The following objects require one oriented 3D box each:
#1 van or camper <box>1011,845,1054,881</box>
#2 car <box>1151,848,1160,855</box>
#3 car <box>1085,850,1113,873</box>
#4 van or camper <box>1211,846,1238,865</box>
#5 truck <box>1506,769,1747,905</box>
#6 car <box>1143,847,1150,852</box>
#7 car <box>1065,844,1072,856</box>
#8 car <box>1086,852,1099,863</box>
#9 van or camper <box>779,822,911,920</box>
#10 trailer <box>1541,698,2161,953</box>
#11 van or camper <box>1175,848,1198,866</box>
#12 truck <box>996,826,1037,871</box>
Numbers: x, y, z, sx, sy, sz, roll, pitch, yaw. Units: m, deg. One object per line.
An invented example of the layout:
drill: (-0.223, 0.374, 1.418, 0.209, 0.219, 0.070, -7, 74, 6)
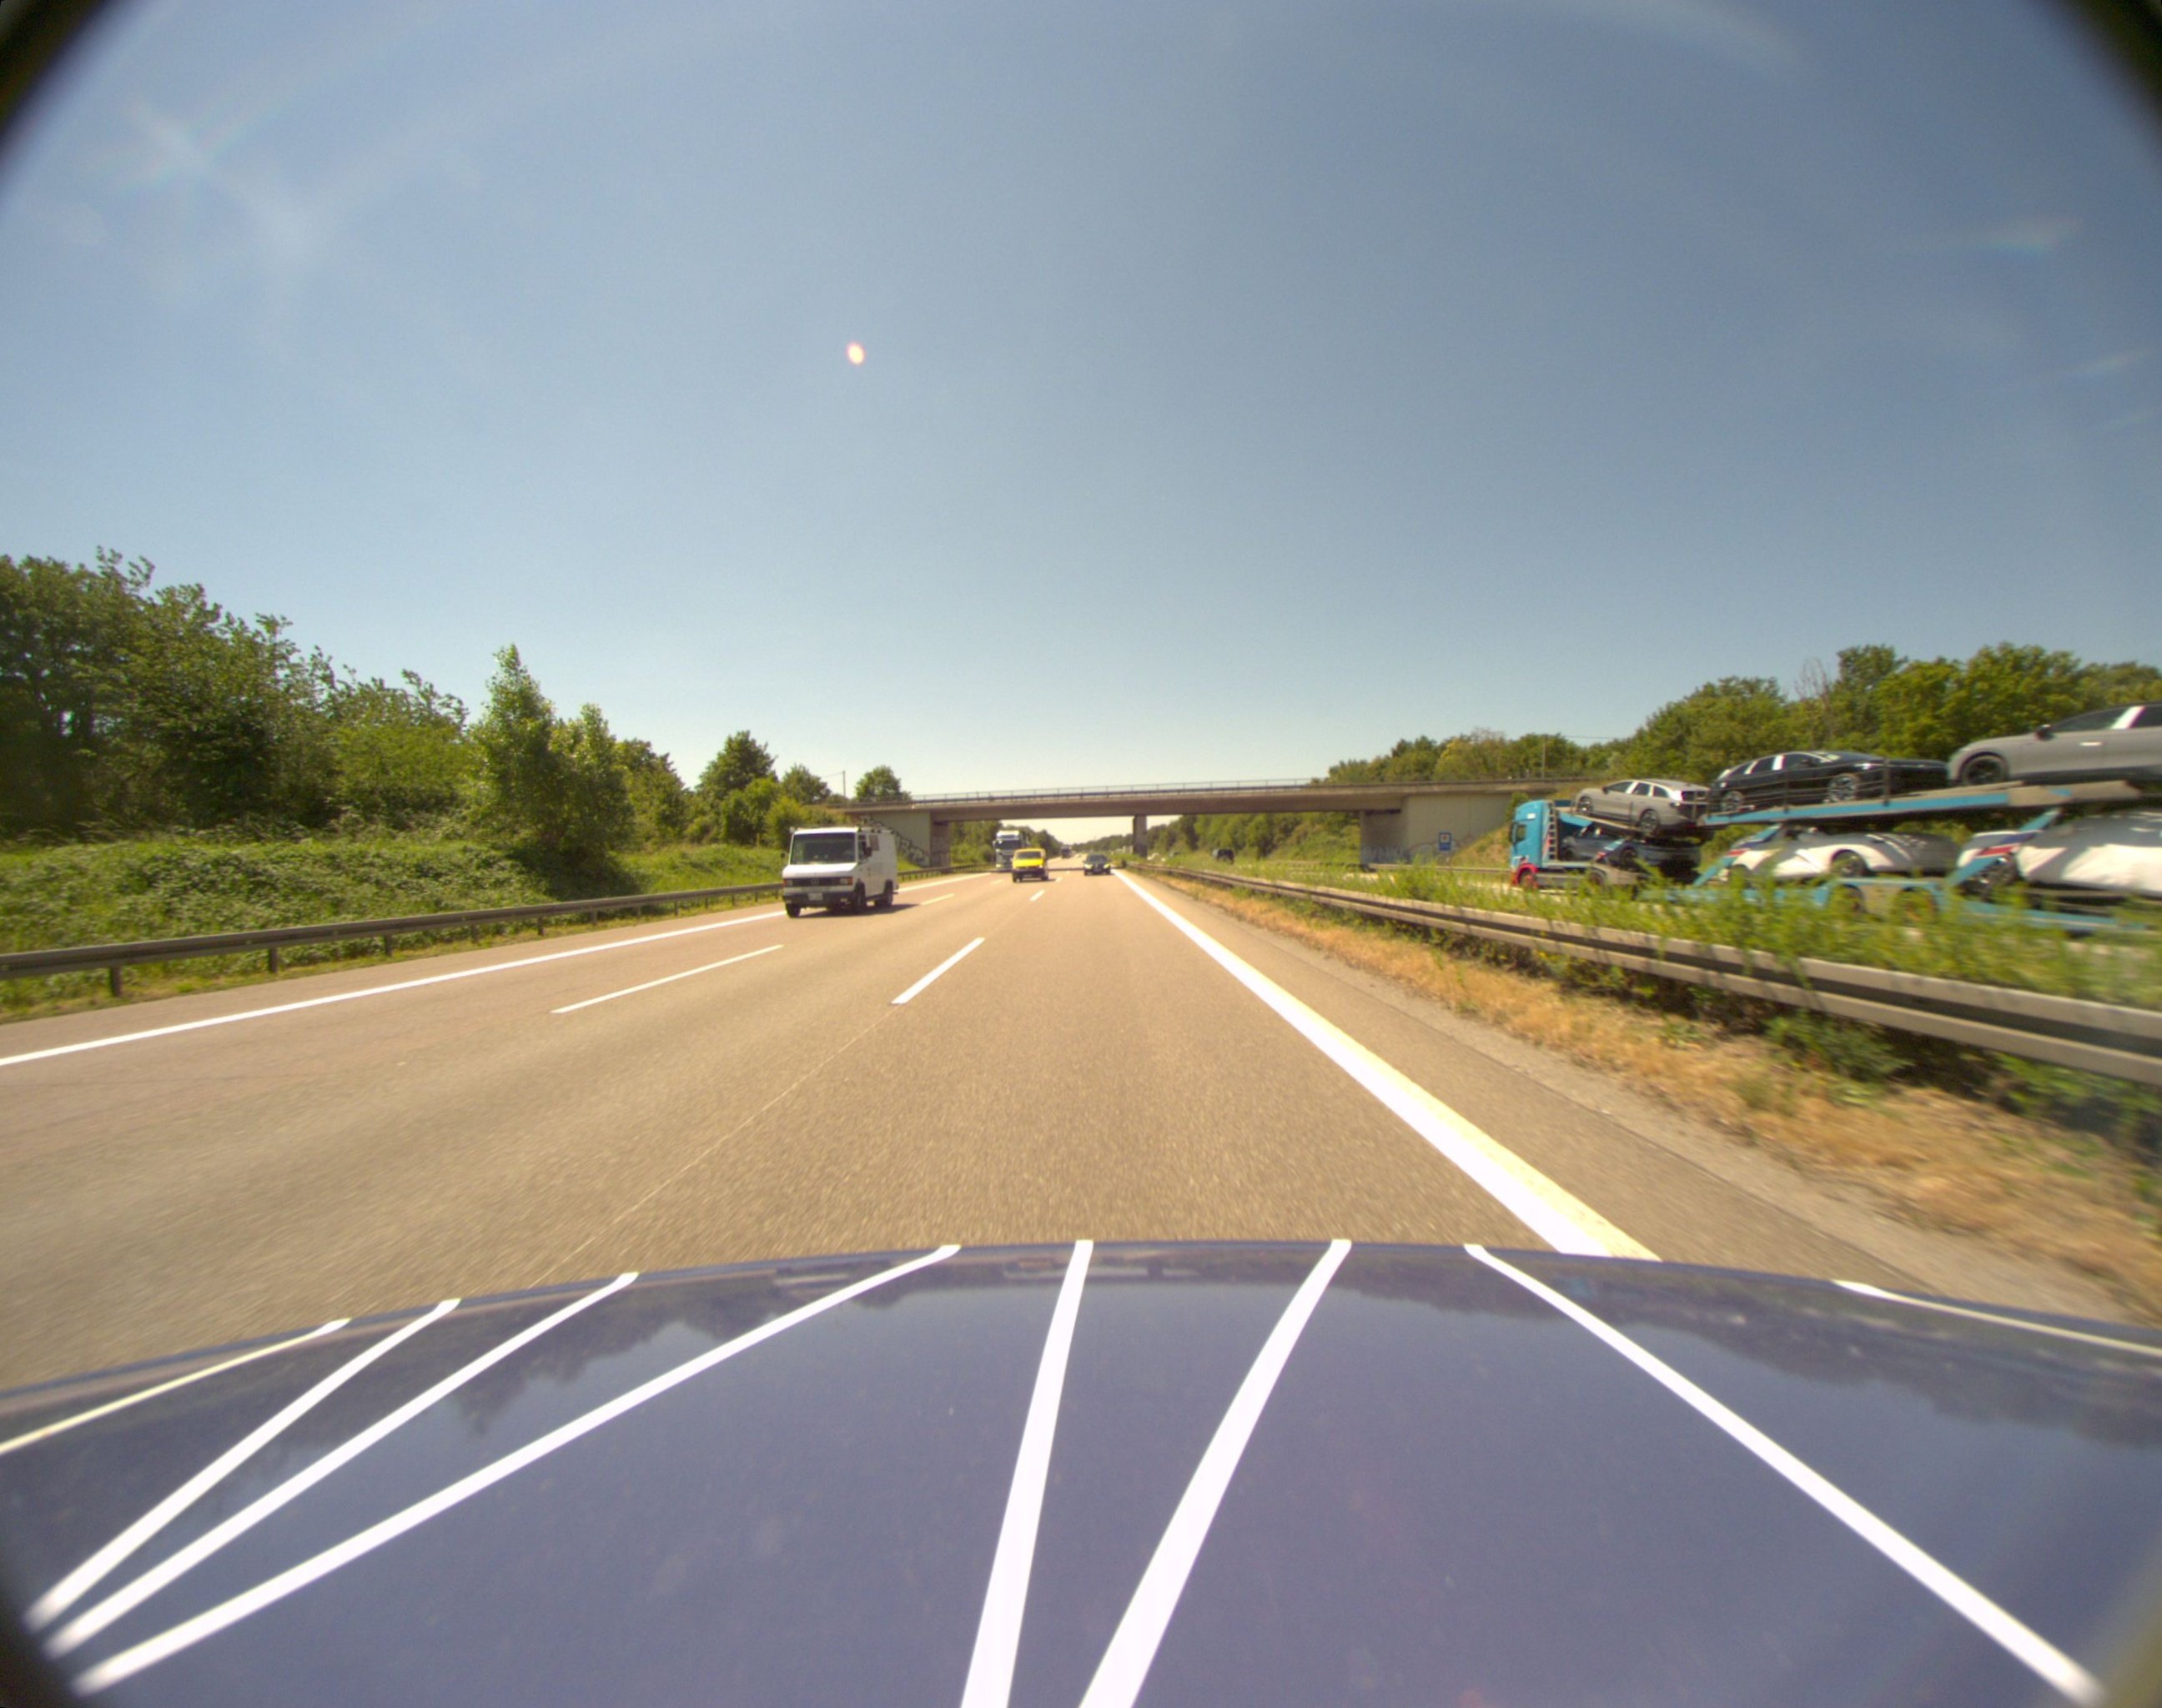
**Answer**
van or camper: (-2.842, 0.472, 45.930, 2.063, 1.992, 5.884, -2, 1, 1)
car: (14.846, -0.548, 151.671, 1.518, 1.379, 3.167, -3, 1, 2)
car: (1.217, 0.477, 53.191, 1.894, 1.541, 4.038, 0, 1, 0)
van or camper: (14.944, 0.109, 79.445, 1.999, 1.859, 4.455, 0, 1, 0)
truck: (18.232, -0.537, 26.204, 2.886, 3.952, 7.371, 2, 1, 0)
car: (16.505, -1.085, 191.340, 1.398, 1.245, 3.584, -4, 1, 1)
car: (-4.072, -1.192, 249.868, 2.298, 3.886, 9.267, 0, 1, 0)
car: (1.679, 0.491, 110.687, 1.894, 1.541, 4.038, 0, 1, 0)
van or camper: (-7.319, 0.446, 24.463, 2.119, 2.687, 6.366, -2, 1, 0)
trailer: (18.219, -0.474, 18.944, 2.886, 3.955, 17.472, 2, 1, 0)
van or camper: (11.134, 0.249, 80.436, 1.715, 1.759, 3.999, -3, 1, 0)
truck: (-6.407, -0.601, 77.523, 2.805, 4.022, 13.352, -3, 1, 0)
